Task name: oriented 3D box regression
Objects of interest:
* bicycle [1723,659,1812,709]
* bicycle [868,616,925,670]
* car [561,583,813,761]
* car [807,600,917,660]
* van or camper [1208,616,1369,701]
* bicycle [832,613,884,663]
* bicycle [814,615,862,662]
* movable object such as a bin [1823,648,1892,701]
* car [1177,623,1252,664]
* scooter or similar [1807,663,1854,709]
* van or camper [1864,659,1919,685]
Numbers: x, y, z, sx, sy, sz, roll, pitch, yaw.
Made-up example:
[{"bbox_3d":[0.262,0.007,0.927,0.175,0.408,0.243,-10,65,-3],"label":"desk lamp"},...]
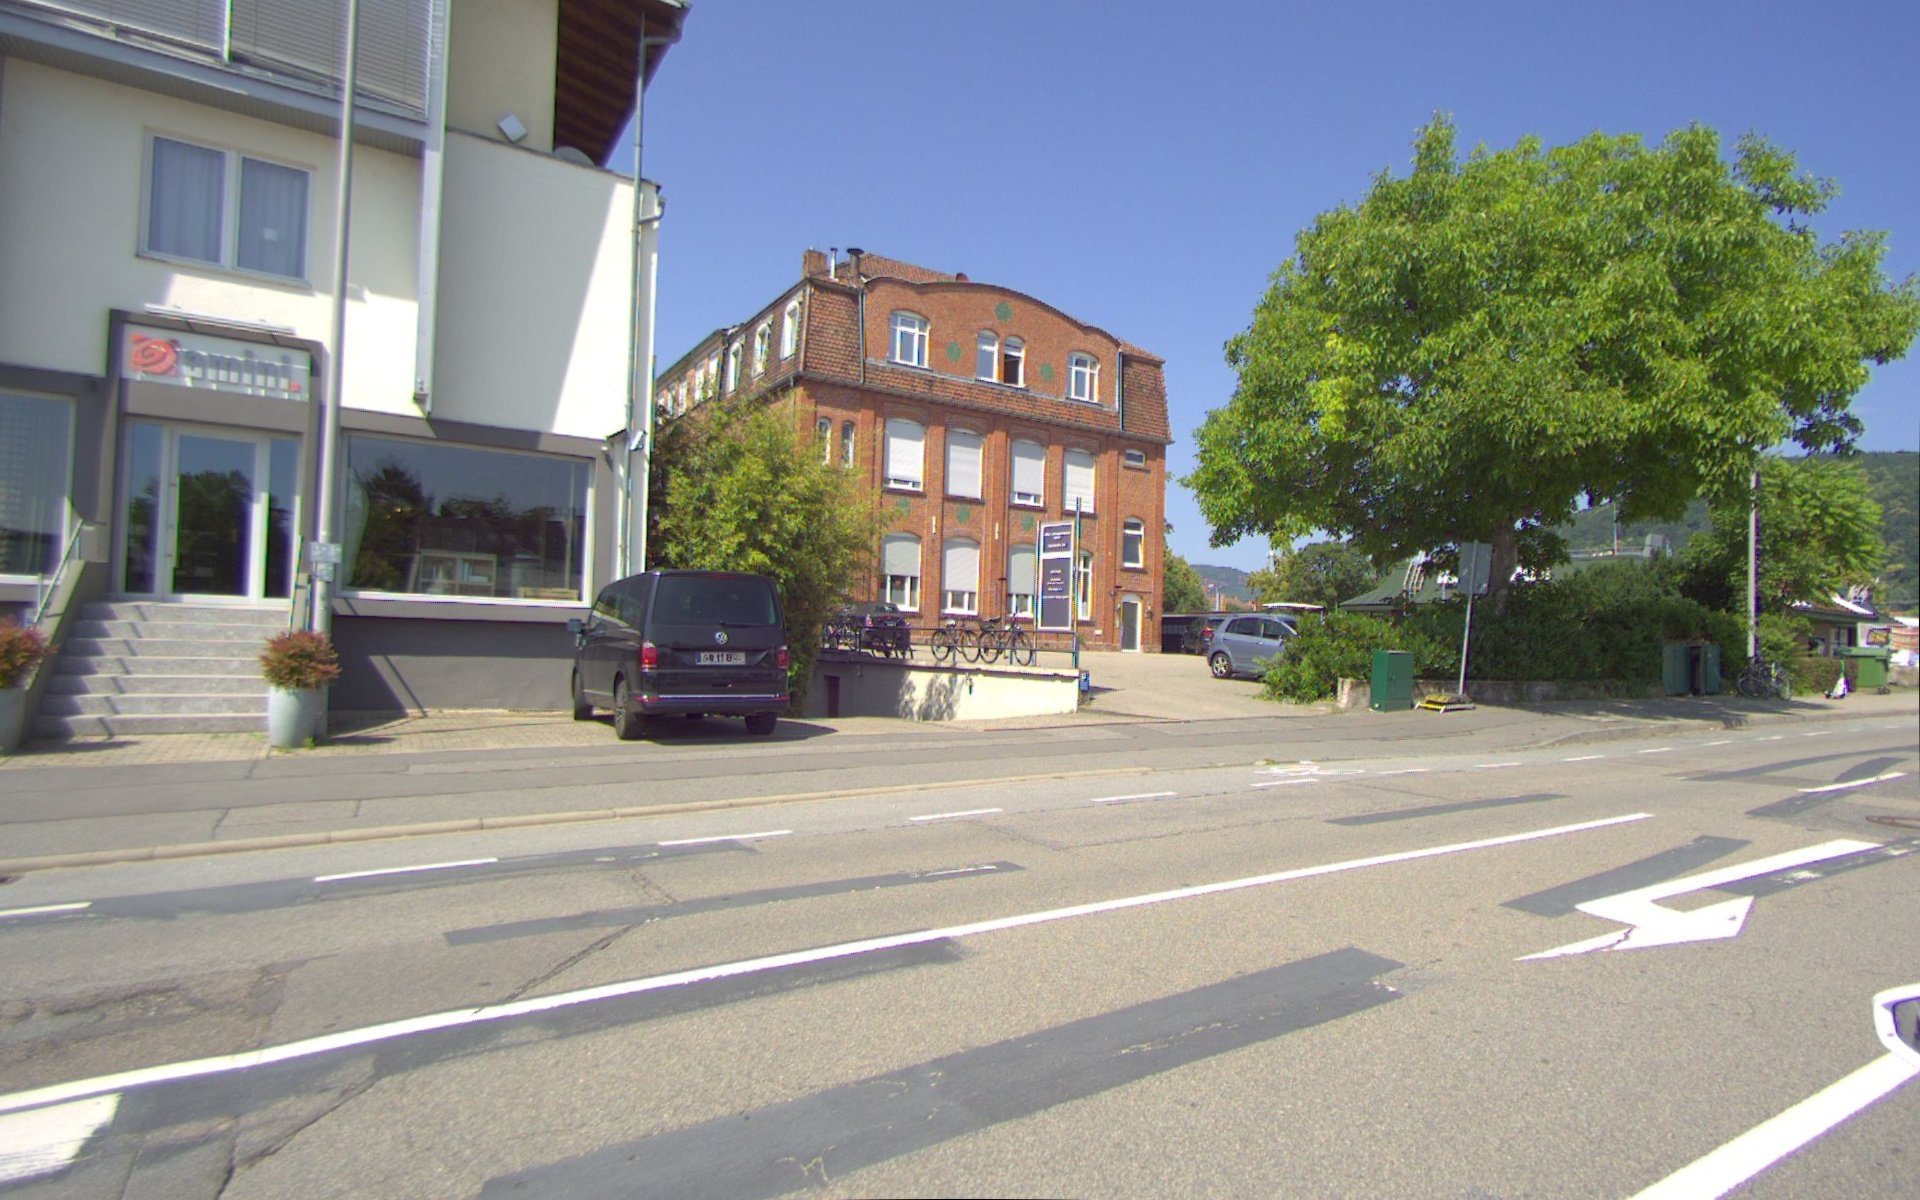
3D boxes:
[{"bbox_3d":[20.697,2.112,25.728,2.738,1.133,1.020,2,1,-35],"label":"bicycle"},{"bbox_3d":[-1.500,0.988,23.378,0.509,1.115,1.620,2,1,-35],"label":"bicycle"},{"bbox_3d":[-3.757,0.799,13.150,2.068,1.890,4.544,2,-1,-30],"label":"car"},{"bbox_3d":[-3.132,0.905,31.495,1.610,1.557,3.960,4,0,-35],"label":"car"},{"bbox_3d":[7.617,1.309,23.553,1.614,1.687,3.376,2,1,-29],"label":"van or camper"},{"bbox_3d":[-2.536,0.934,24.871,0.509,1.115,1.620,2,1,-35],"label":"bicycle"},{"bbox_3d":[-3.245,1.006,26.572,0.509,1.115,1.620,2,1,-35],"label":"bicycle"},{"bbox_3d":[28.118,2.308,31.481,1.296,1.611,1.436,2,-2,-40],"label":"movable object such as a bin"},{"bbox_3d":[10.834,1.872,43.087,2.113,1.654,4.481,1,-2,1],"label":"car"},{"bbox_3d":[23.840,2.332,27.501,1.608,1.143,0.642,2,1,-38],"label":"scooter or similar"},{"bbox_3d":[66.492,5.106,70.829,3.941,1.595,1.990,3,0,41],"label":"van or camper"}]
